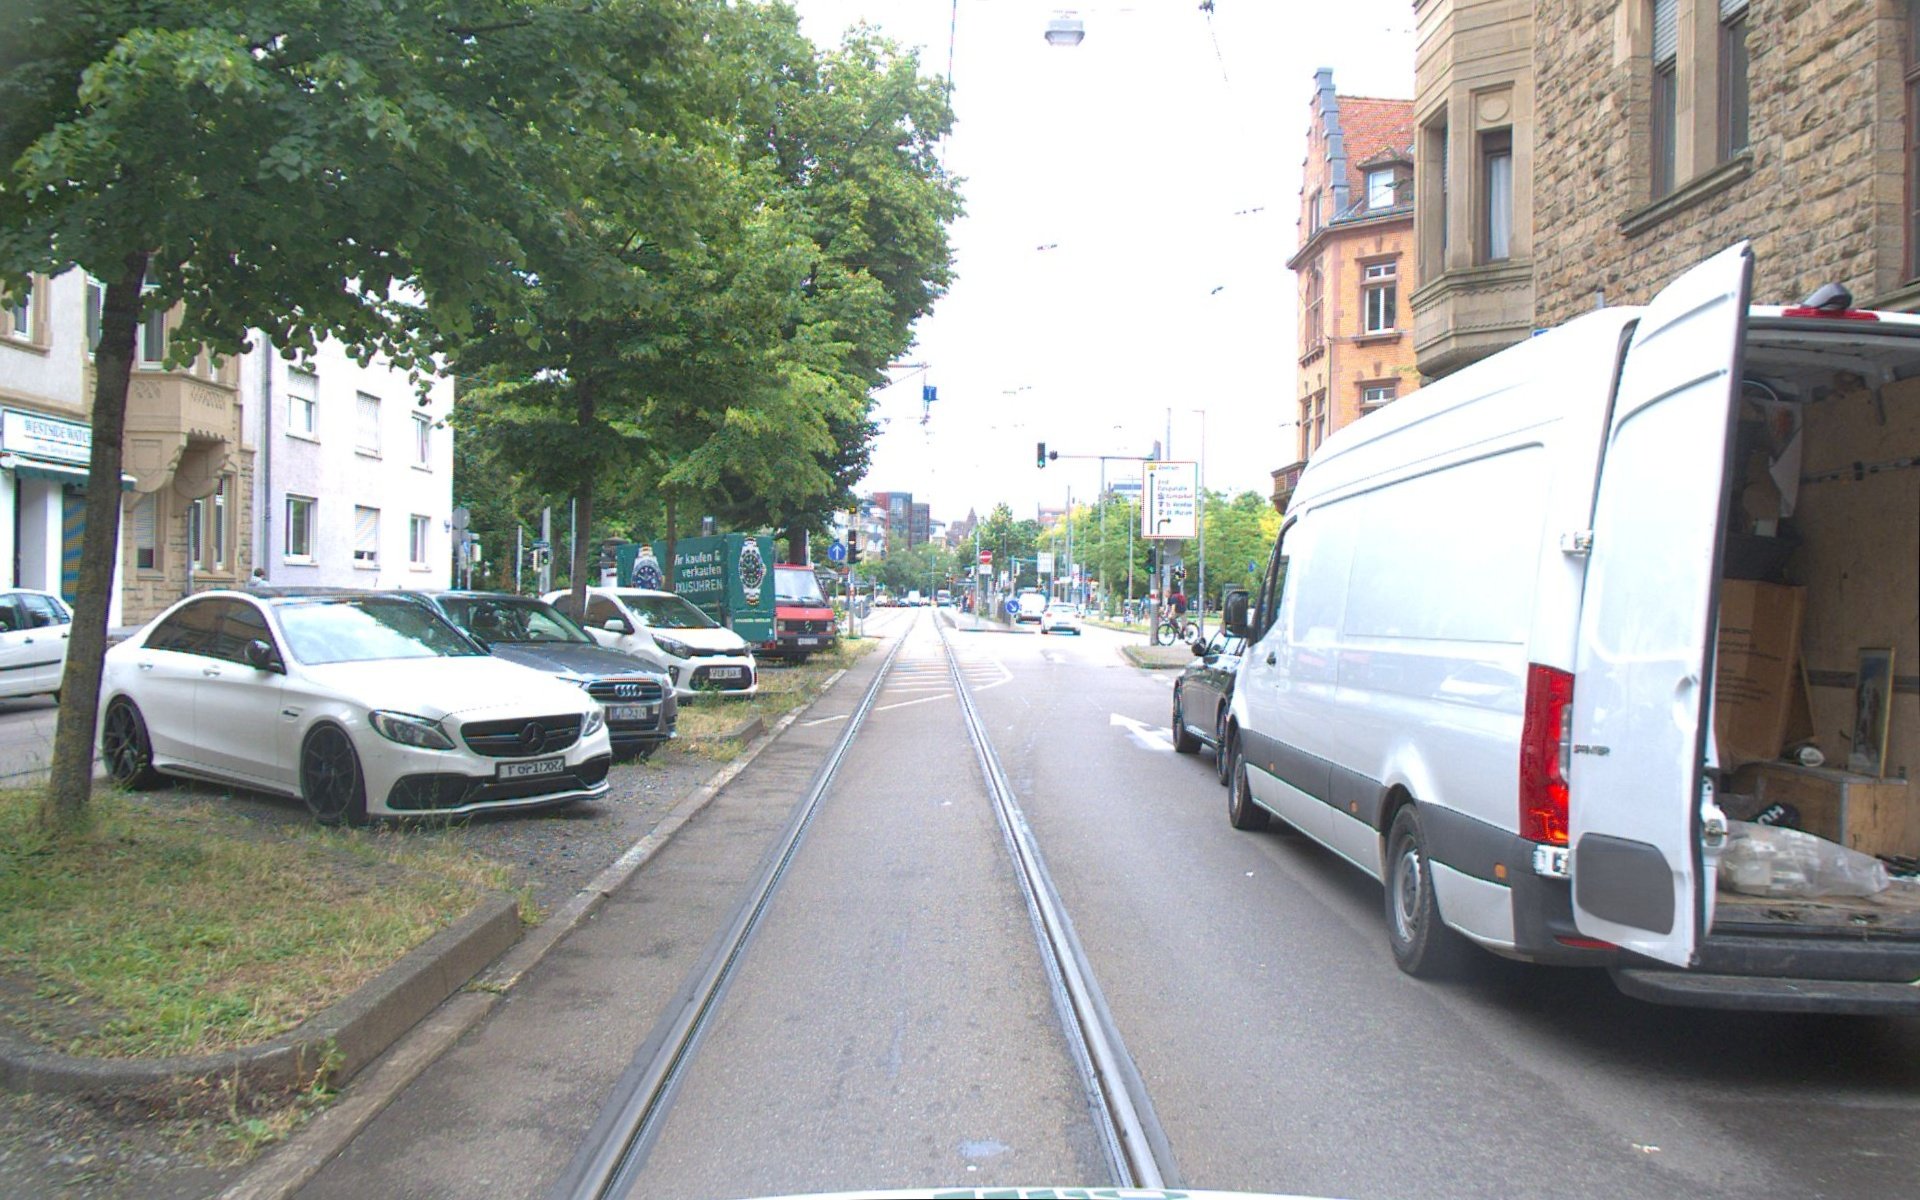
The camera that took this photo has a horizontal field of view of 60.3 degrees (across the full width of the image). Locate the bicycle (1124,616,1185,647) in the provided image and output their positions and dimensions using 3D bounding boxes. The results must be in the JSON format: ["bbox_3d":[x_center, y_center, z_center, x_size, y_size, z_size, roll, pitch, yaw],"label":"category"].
[{"bbox_3d":[6.097,0.977,51.875,1.845,0.940,0.787,1,0,-34],"label":"bicycle"}]

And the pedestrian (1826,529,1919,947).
[{"bbox_3d":[4.470,0.605,7.631,0.488,1.847,0.803,-1,0,0],"label":"pedestrian"}]

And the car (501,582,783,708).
[{"bbox_3d":[-4.223,0.529,21.700,3.793,1.488,1.680,1,0,41],"label":"car"}]

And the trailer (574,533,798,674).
[{"bbox_3d":[-4.920,0.040,29.678,3.593,2.385,1.926,1,0,32],"label":"trailer"}]

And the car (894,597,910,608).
[{"bbox_3d":[-8.555,0.361,244.276,1.733,1.519,3.889,1,0,5],"label":"car"}]

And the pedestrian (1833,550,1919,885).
[{"bbox_3d":[5.266,0.594,8.886,0.848,1.729,0.535,-2,0,-15],"label":"pedestrian"}]

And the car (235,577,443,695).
[{"bbox_3d":[-8.820,0.491,23.816,1.611,1.530,3.882,1,0,-2],"label":"car"}]

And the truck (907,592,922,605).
[{"bbox_3d":[-7.120,-0.229,258.520,1.750,2.068,5.399,1,0,5],"label":"truck"}]

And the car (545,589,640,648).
[{"bbox_3d":[-9.187,0.457,41.608,1.611,1.407,3.882,1,0,-2],"label":"car"}]

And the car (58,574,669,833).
[{"bbox_3d":[-4.289,0.568,11.544,4.599,1.460,1.890,1,0,39],"label":"car"}]

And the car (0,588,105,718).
[{"bbox_3d":[-11.737,0.591,19.307,1.602,1.468,3.921,1,0,-3],"label":"car"}]

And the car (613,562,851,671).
[{"bbox_3d":[-4.538,0.283,32.611,4.675,2.009,1.951,1,0,38],"label":"car"}]

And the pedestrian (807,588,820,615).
[{"bbox_3d":[-8.983,0.099,101.663,0.753,1.689,1.024,0,0,-4],"label":"pedestrian"}]

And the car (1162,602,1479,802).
[{"bbox_3d":[3.074,0.784,15.186,1.786,1.475,5.006,2,0,0],"label":"car"}]

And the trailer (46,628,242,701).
[{"bbox_3d":[-11.780,0.903,24.055,1.425,0.908,3.075,-1,0,-3],"label":"trailer"}]

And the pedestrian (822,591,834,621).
[{"bbox_3d":[-7.856,0.358,98.329,0.687,1.745,0.697,0,0,-10],"label":"pedestrian"}]

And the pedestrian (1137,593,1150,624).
[{"bbox_3d":[11.591,0.529,104.371,0.724,1.902,0.682,0,0,0],"label":"pedestrian"}]

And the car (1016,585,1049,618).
[{"bbox_3d":[4.516,0.096,103.916,1.746,1.997,4.381,1,0,-2],"label":"car"}]

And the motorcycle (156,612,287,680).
[{"bbox_3d":[-12.106,0.734,27.214,0.694,1.057,2.231,0,0,15],"label":"motorcycle"}]

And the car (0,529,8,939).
[{"bbox_3d":[-4.005,0.578,3.879,4.041,1.510,1.788,1,0,40],"label":"car"}]

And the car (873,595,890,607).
[{"bbox_3d":[-10.462,0.170,219.963,1.733,1.519,3.889,1,0,5],"label":"car"}]

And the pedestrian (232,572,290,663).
[{"bbox_3d":[-14.079,0.343,33.327,0.781,1.797,0.900,0,0,-2],"label":"pedestrian"}]

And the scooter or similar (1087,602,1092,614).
[{"bbox_3d":[12.791,0.774,163.642,0.368,1.161,1.200,0,0,10],"label":"scooter or similar"}]

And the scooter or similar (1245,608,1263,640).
[{"bbox_3d":[11.053,0.896,62.238,0.368,1.161,1.198,0,0,-4],"label":"scooter or similar"}]

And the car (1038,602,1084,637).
[{"bbox_3d":[4.556,0.871,75.317,1.746,1.498,4.009,1,0,-1],"label":"car"}]

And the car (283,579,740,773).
[{"bbox_3d":[-4.069,0.565,14.656,4.262,1.460,1.888,1,0,41],"label":"car"}]

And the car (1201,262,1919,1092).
[{"bbox_3d":[2.840,0.257,8.780,1.972,2.593,7.016,2,0,0],"label":"car"}]
